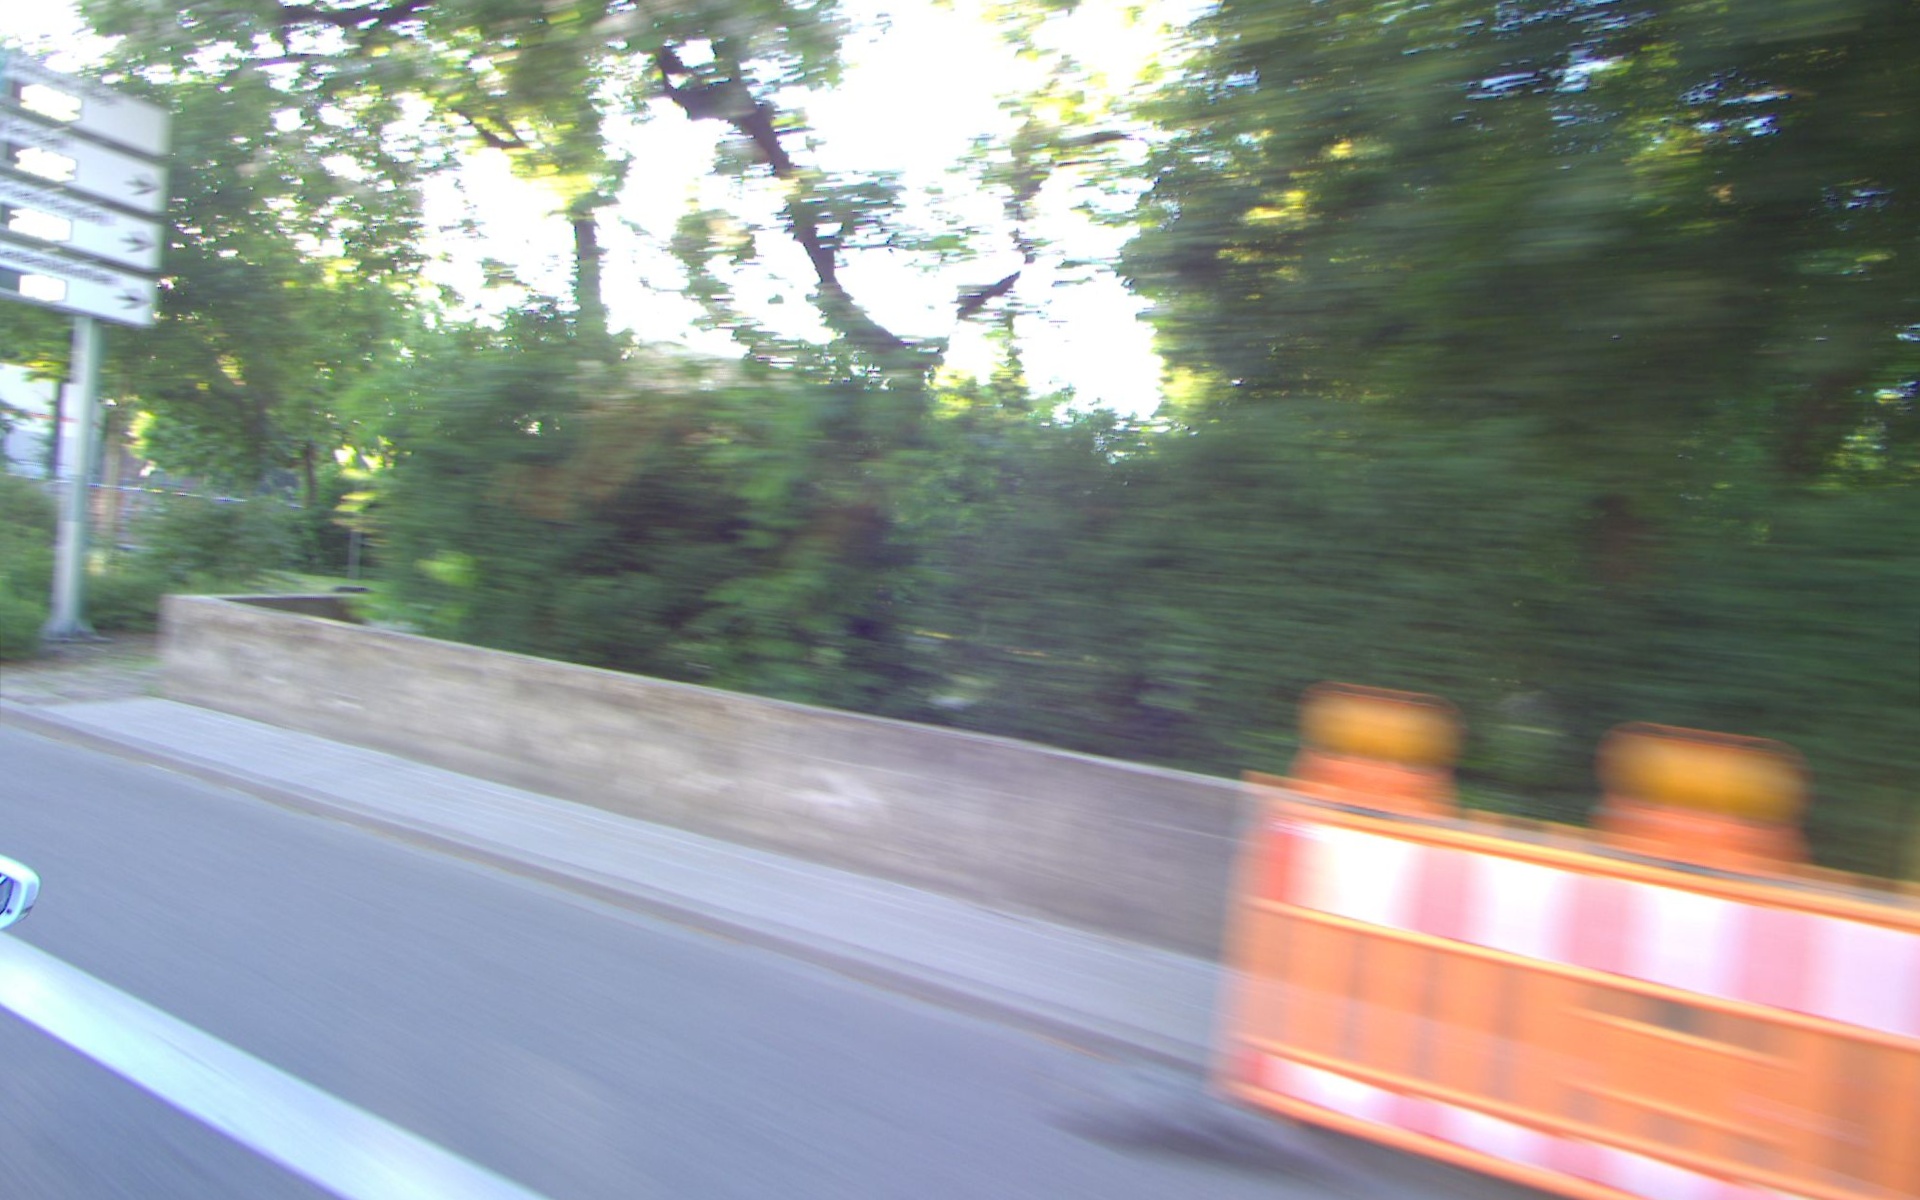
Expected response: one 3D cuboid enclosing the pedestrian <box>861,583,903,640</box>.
[{"bbox_3d":[-2.435,0.363,31.382,0.809,1.646,0.828,5,3,-35],"label":"pedestrian"}]
